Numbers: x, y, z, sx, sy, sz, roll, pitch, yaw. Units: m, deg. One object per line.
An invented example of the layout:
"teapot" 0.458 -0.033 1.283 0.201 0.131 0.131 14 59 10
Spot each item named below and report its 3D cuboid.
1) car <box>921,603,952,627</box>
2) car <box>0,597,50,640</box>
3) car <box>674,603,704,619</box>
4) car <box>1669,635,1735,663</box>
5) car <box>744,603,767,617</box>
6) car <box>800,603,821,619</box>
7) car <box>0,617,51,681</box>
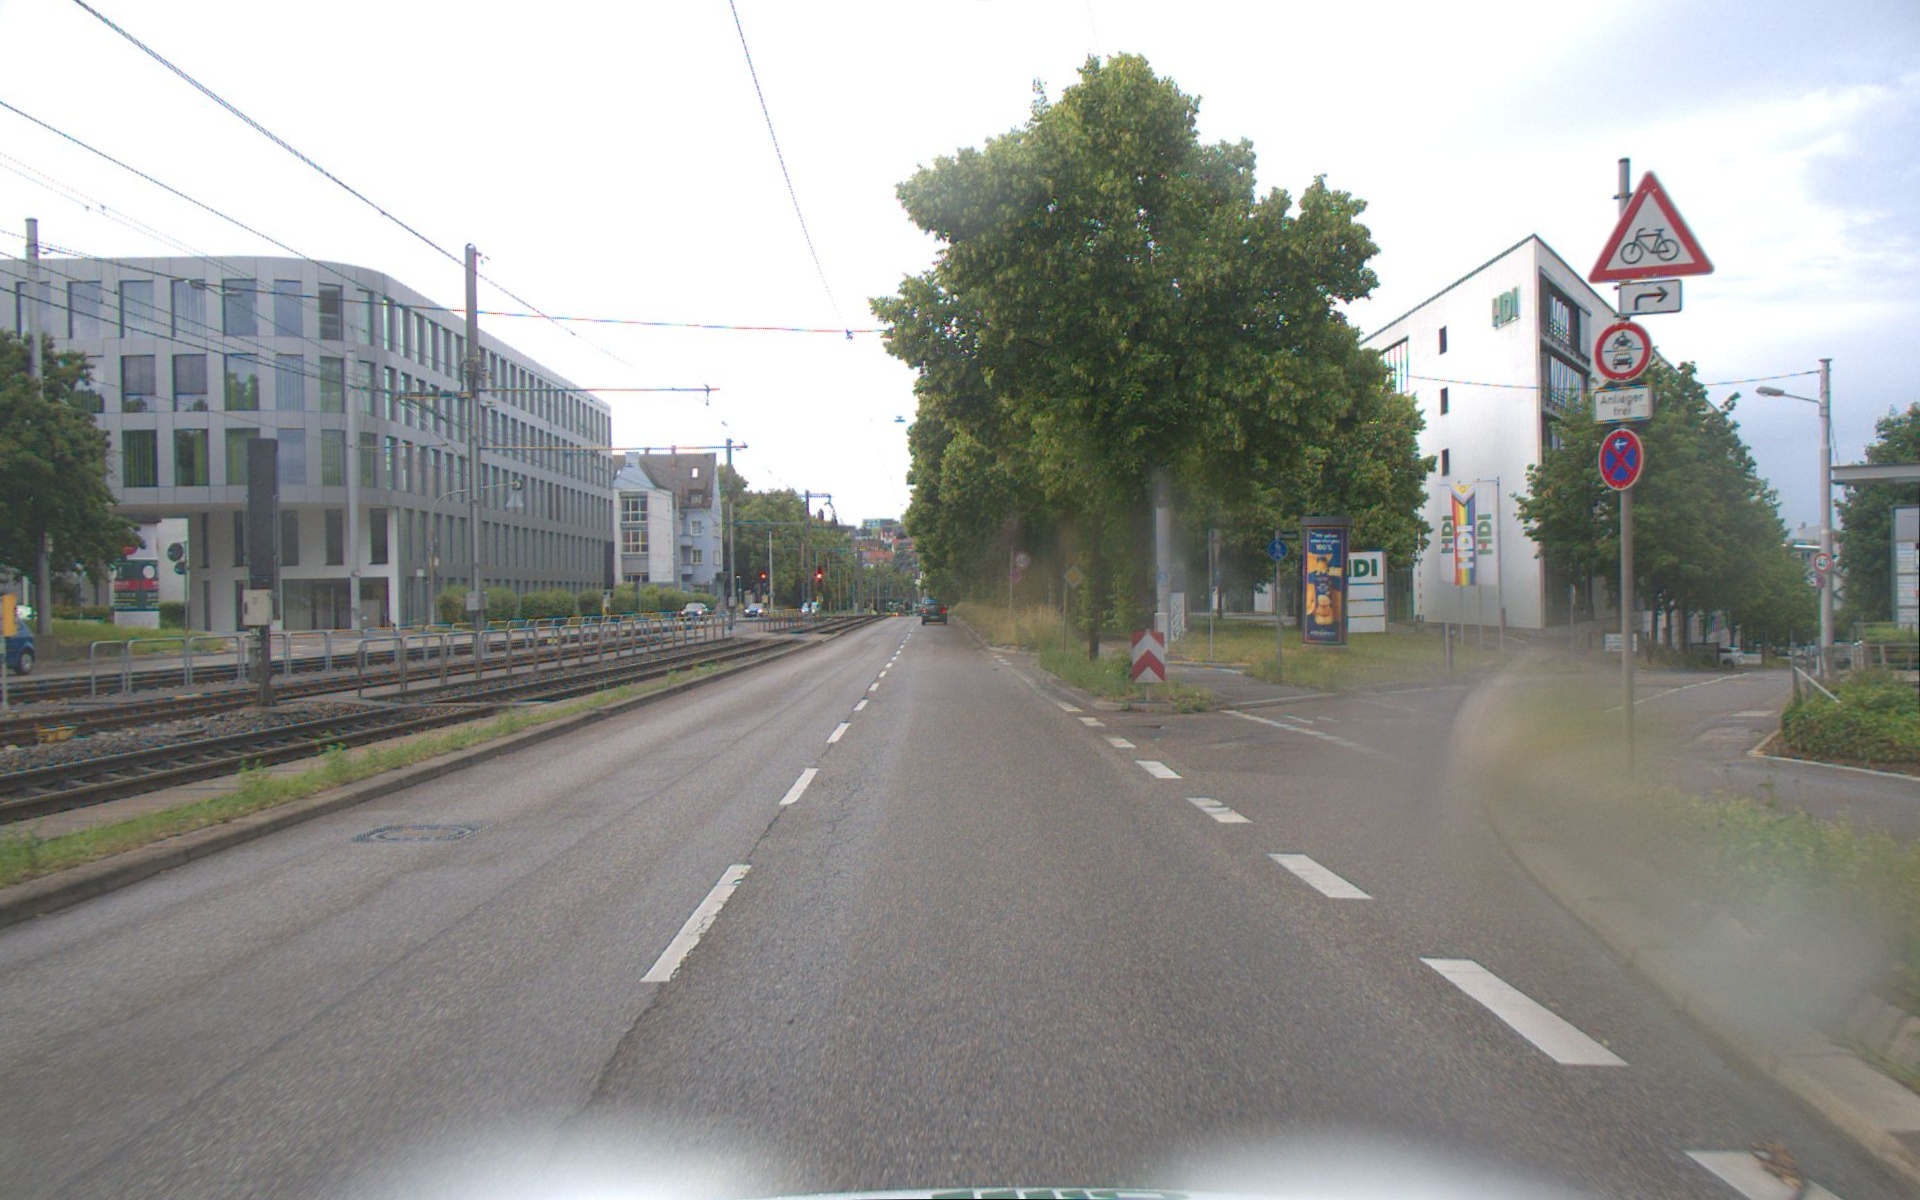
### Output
"car" -1.528 0.967 107.818 1.942 1.466 4.473 -1 0 -1
"car" -35.549 0.609 60.099 3.841 1.478 1.925 2 0 -3
"car" -21.256 0.851 129.814 1.720 1.266 3.987 -1 0 -1
"car" 48.853 3.198 108.931 3.906 1.747 1.999 0 0 23
"car" -20.230 0.958 164.010 1.761 1.370 4.258 -1 0 -1
"car" -16.779 1.204 185.587 1.863 1.673 4.884 -1 0 0
"car" -22.339 1.126 37.001 1.724 1.422 3.901 -1 0 2
